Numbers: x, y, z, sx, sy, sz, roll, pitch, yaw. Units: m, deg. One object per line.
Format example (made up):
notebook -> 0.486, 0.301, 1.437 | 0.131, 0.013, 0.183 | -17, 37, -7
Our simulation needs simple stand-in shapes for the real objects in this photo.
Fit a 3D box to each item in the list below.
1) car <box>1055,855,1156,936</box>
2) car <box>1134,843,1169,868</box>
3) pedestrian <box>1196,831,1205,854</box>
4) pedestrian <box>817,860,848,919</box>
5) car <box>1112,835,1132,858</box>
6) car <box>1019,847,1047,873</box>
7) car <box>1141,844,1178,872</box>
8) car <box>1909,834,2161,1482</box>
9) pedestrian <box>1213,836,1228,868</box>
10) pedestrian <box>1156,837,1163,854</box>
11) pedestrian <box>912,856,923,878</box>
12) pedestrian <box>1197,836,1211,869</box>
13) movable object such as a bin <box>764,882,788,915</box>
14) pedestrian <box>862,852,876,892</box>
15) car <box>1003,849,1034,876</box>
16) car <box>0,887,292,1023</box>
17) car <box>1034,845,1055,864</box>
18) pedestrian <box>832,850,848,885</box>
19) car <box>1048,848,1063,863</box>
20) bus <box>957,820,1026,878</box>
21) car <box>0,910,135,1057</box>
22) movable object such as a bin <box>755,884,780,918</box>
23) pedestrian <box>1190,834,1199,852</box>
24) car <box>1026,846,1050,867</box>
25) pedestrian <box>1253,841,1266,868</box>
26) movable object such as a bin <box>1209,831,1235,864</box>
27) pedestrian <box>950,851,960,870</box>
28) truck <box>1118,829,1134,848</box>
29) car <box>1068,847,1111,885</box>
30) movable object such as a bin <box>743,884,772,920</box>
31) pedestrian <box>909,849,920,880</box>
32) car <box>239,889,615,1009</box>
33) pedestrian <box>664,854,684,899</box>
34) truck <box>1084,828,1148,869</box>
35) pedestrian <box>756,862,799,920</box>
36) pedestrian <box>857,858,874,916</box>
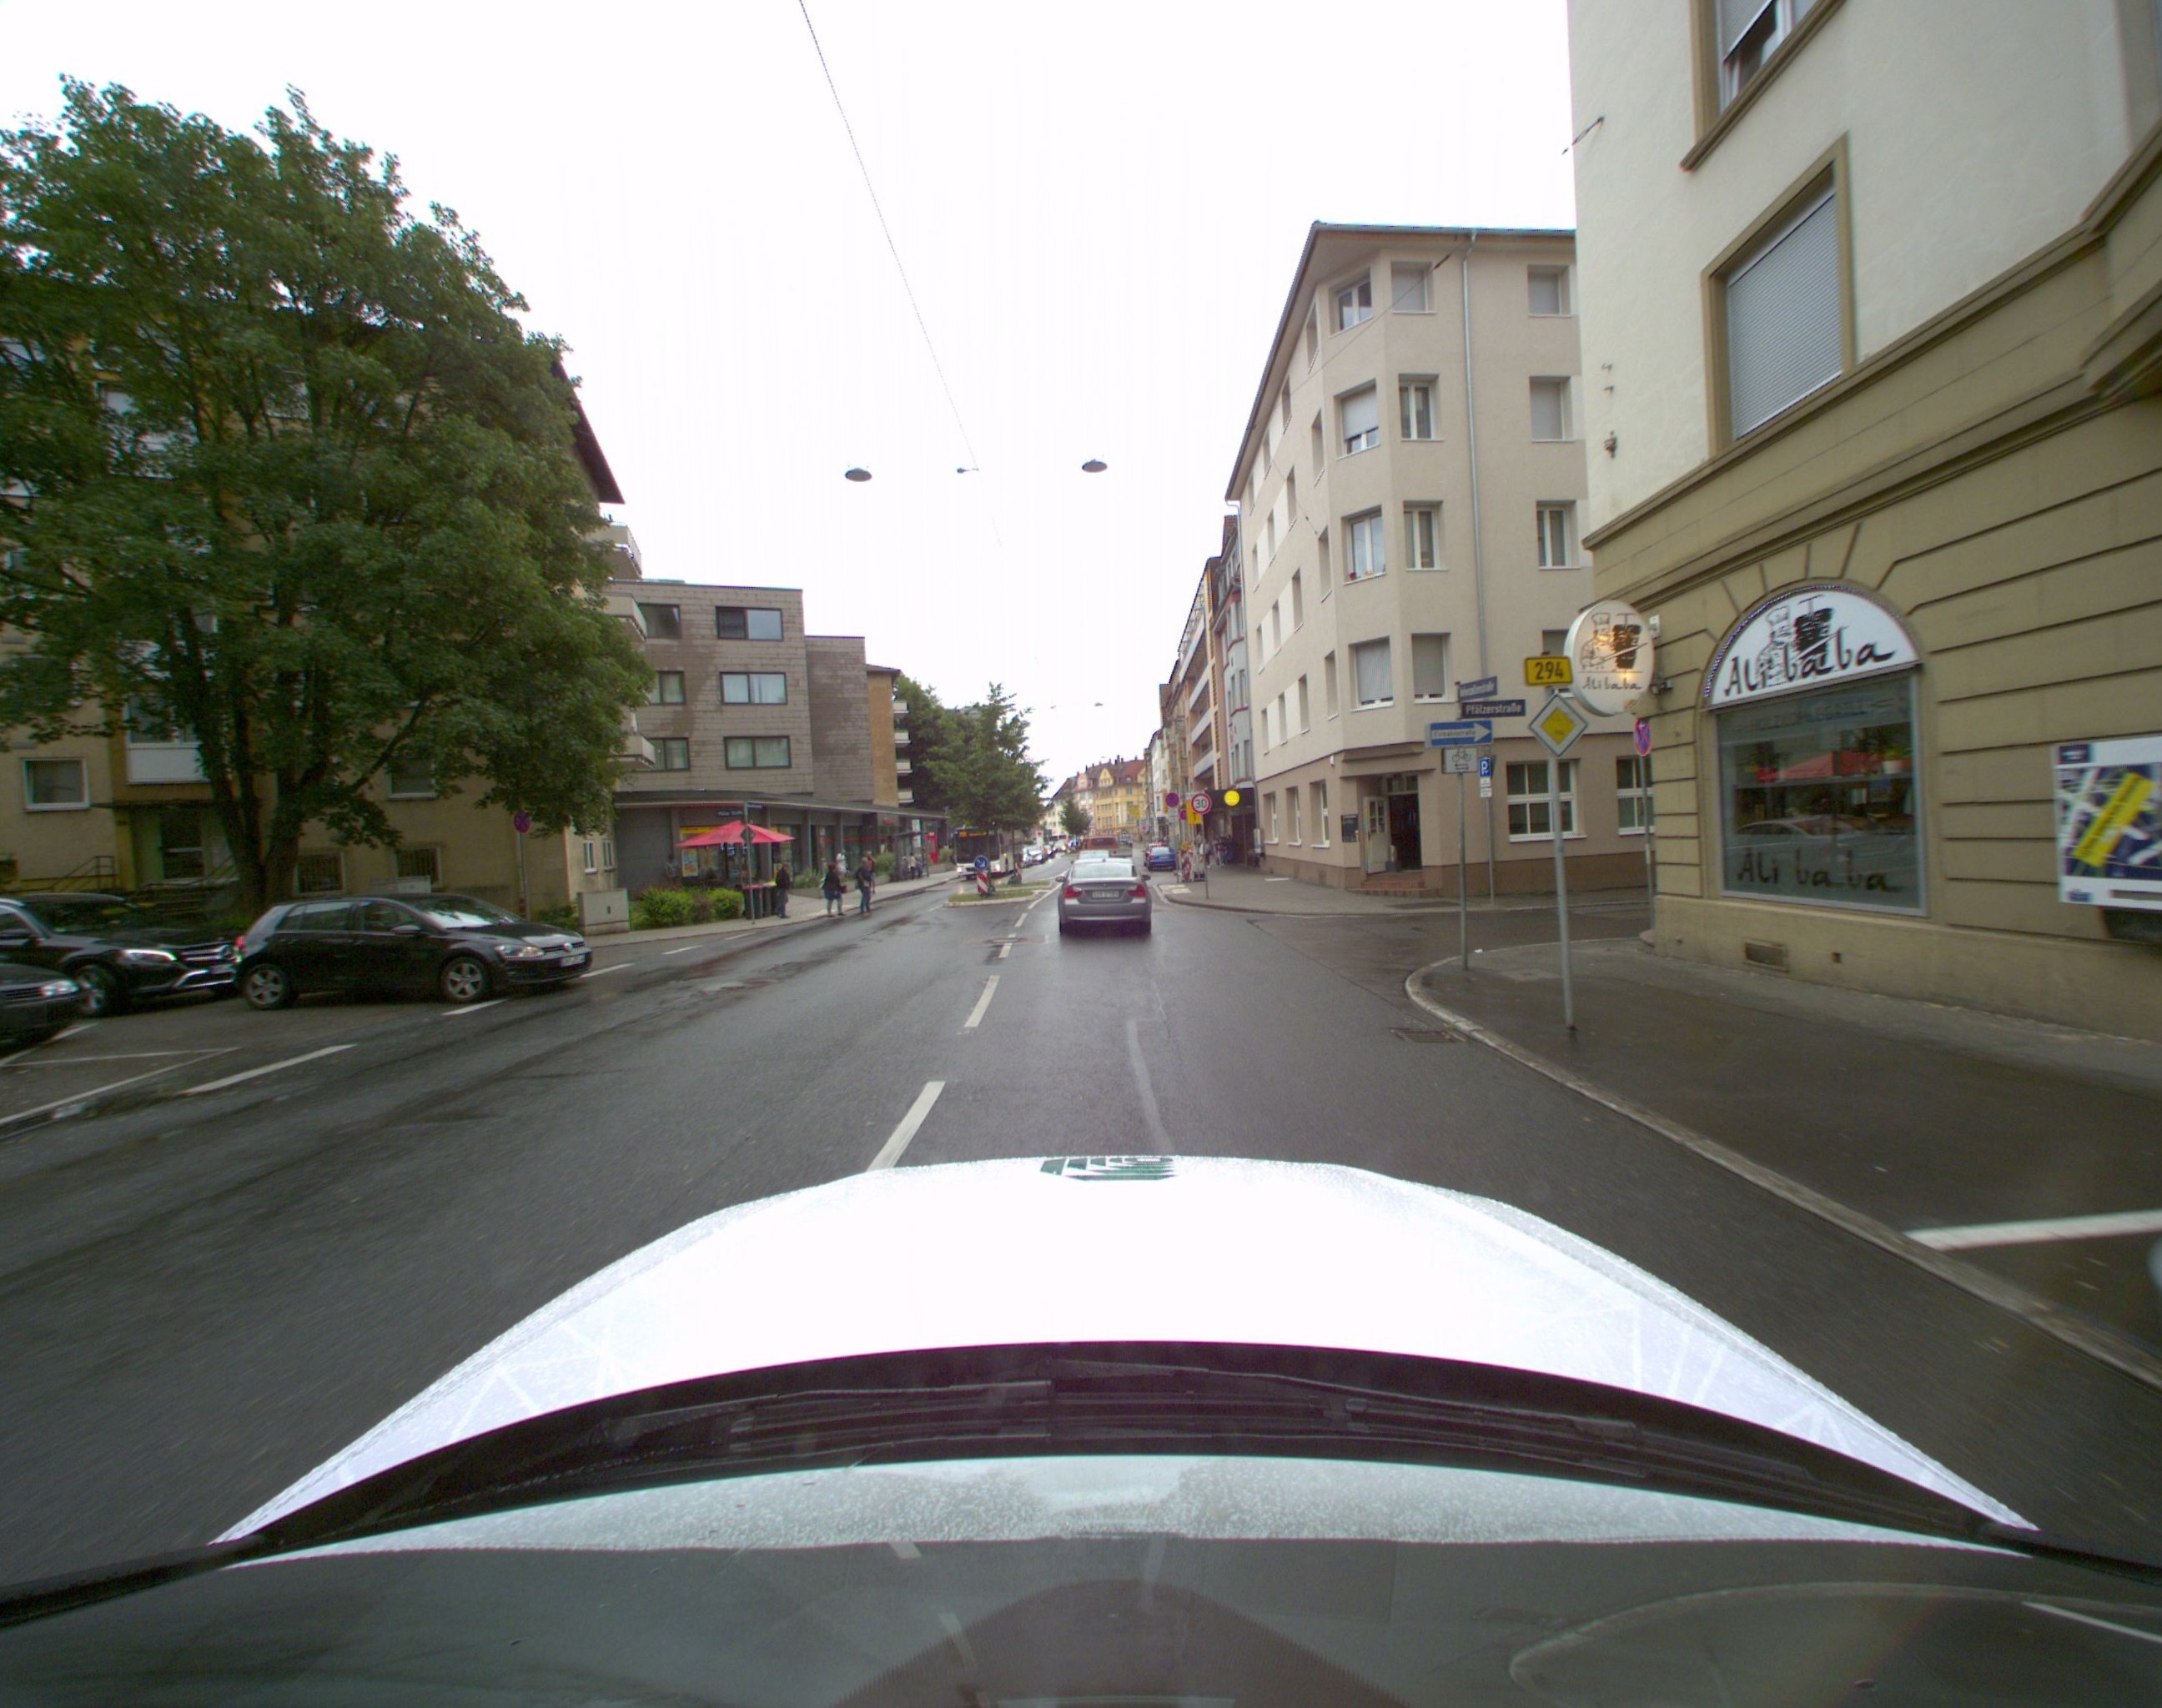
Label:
car -> 0.494, 0.740, 15.999 | 1.749, 1.362, 3.167 | -1, 1, 2
car -> 4.449, 0.121, 51.727 | 1.986, 1.519, 4.001 | 0, -1, 1
pedestrian -> 8.889, -0.865, 60.457 | 0.611, 1.661, 0.756 | 0, -1, 8
pedestrian -> -7.530, 1.073, 24.672 | 0.741, 1.709, 0.676 | -5, 0, -18
car -> 3.851, -0.673, 77.158 | 1.699, 2.014, 3.999 | 0, -1, 0
car -> -4.015, 0.535, 69.024 | 1.986, 2.014, 4.001 | -2, -1, 1
car -> 4.420, 0.227, 46.207 | 1.802, 1.519, 4.001 | 0, -1, 1
car -> 3.152, 0.664, 0.306 | 1.563, 1.464, 4.092 | -5, 0, 3
pedestrian -> 7.193, -0.095, 42.005 | 0.746, 1.661, 0.756 | 0, -1, 8
pedestrian -> 6.543, -0.716, 68.203 | 0.519, 1.421, 0.431 | 0, -1, 11
pedestrian -> -9.543, 0.764, 47.573 | 0.463, 1.230, 0.545 | 0, -1, 3
pedestrian -> 6.435, -0.072, 42.599 | 0.744, 1.661, 0.839 | 0, -1, 8
movable object such as a bin -> -10.307, 1.497, 27.530 | 0.488, 1.081, 0.606 | -4, -1, 3
pedestrian -> -9.386, 0.796, 36.022 | 0.542, 1.790, 0.465 | 0, -1, -7
car -> -4.804, 0.692, 62.925 | 1.986, 2.014, 4.001 | 0, -1, 1
car -> -13.998, 1.402, 11.600 | 3.795, 1.582, 1.694 | -3, 1, 1
car -> -3.935, 0.077, 87.654 | 1.986, 2.014, 4.001 | 0, -1, 1
pedestrian -> -11.794, 0.653, 39.930 | 0.659, 1.705, 0.658 | -2, -1, -15
car -> -3.416, 0.214, 110.062 | 1.988, 2.014, 3.997 | 0, -1, -2
bus -> -5.386, -0.168, 51.270 | 2.671, 3.201, 11.958 | 0, -1, 2
car -> -12.866, 1.466, 8.601 | 3.798, 1.389, 1.745 | -3, 1, 4
movable object such as a bin -> -10.348, 1.543, 26.882 | 0.488, 1.081, 0.606 | -4, -1, 3
pedestrian -> 9.128, -0.877, 65.571 | 0.560, 1.421, 0.799 | 0, -1, 15
car -> -4.108, 0.265, 77.977 | 1.986, 2.014, 4.001 | 0, -1, 1
pedestrian -> 8.352, 0.020, 38.105 | 0.410, 1.203, 0.357 | -5, 1, 5
movable object such as a bin -> 7.755, -0.359, 44.870 | 1.119, 1.702, 1.433 | -4, -1, 0
pedestrian -> -9.515, 0.501, 61.480 | 0.617, 1.378, 0.545 | 0, -1, 3
truck -> 6.477, -2.199, 117.737 | 2.208, 2.544, 4.781 | 0, -1, 1
car -> 0.318, 0.483, 32.056 | 1.596, 1.420, 3.287 | 0, -1, 0
movable object such as a bin -> -10.397, 1.533, 26.202 | 0.551, 1.081, 0.731 | -4, -1, 3
pedestrian -> -9.372, 0.600, 45.785 | 0.542, 1.709, 0.465 | 0, -1, -4
car -> -8.889, 1.260, 11.315 | 3.802, 1.390, 1.743 | -2, -1, 1
pedestrian -> -16.988, 0.929, 33.975 | 0.637, 1.816, 0.632 | -3, 1, -28
truck -> 1.831, -0.263, 44.449 | 2.219, 2.117, 4.628 | 1, -1, -15
pedestrian -> -9.514, 1.158, 25.570 | 1.061, 1.731, 0.712 | -2, 0, -8
pedestrian -> -6.501, 0.992, 24.530 | 0.466, 1.709, 0.541 | 0, -1, -18
